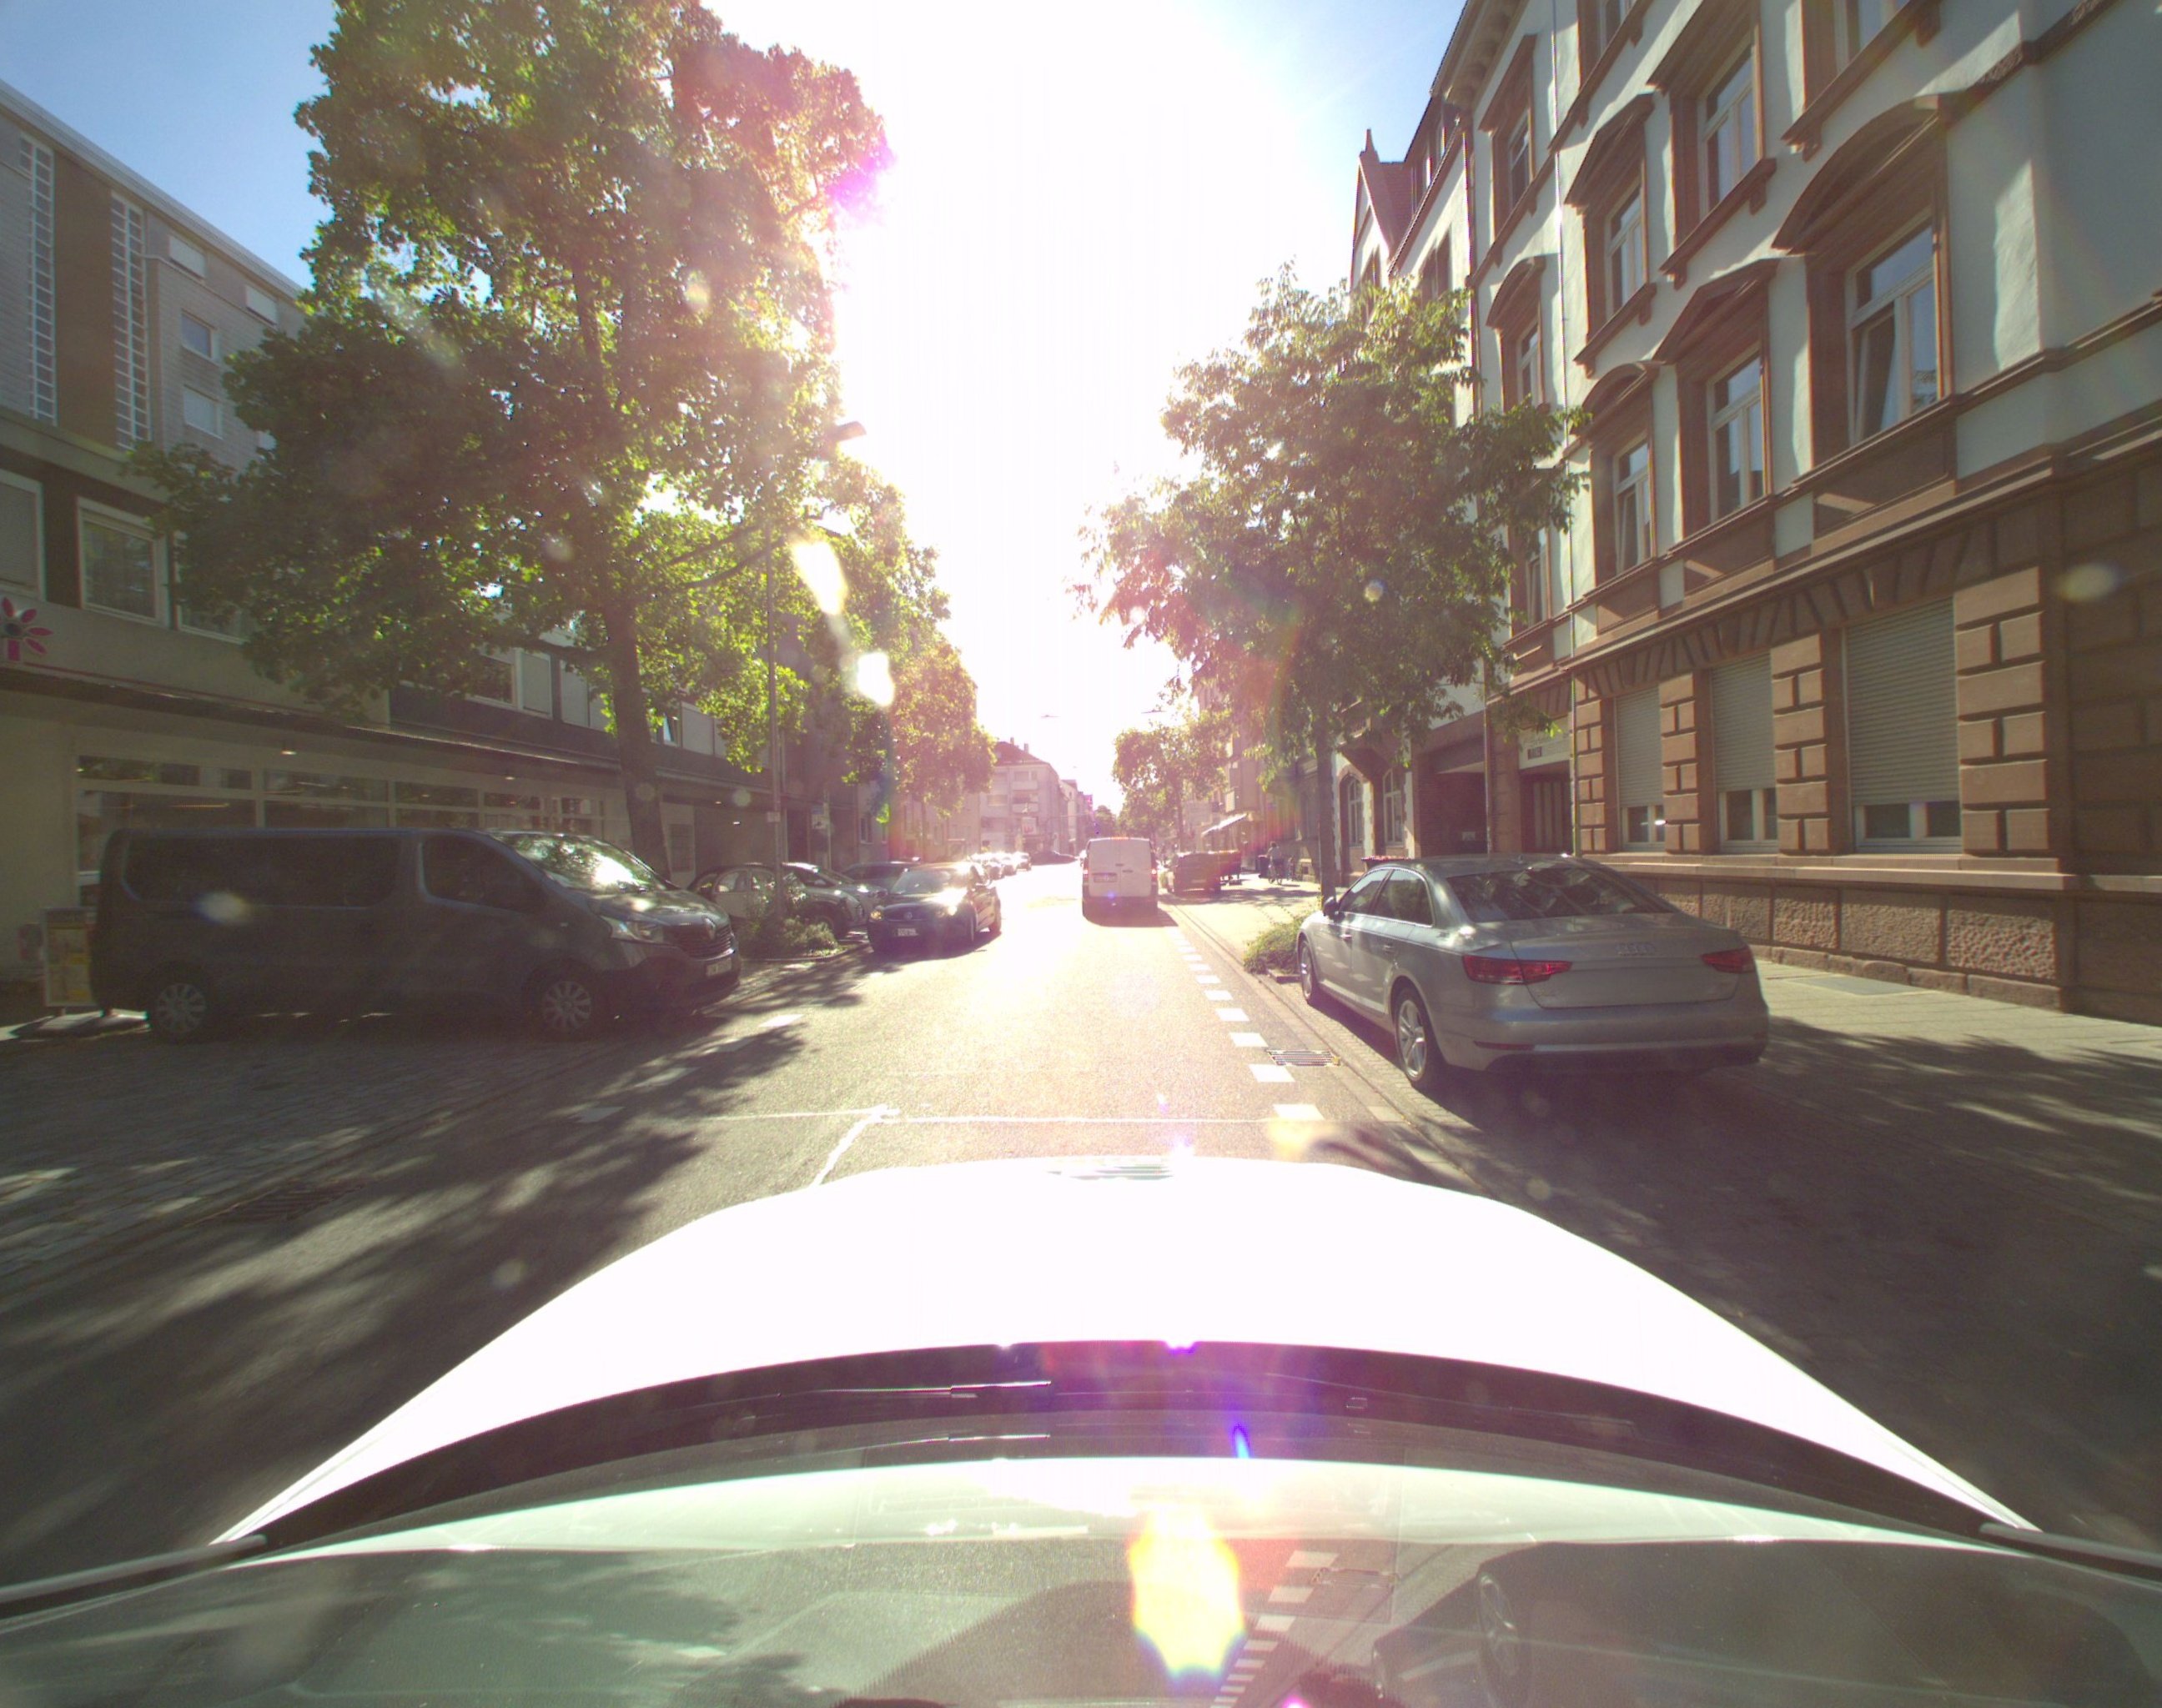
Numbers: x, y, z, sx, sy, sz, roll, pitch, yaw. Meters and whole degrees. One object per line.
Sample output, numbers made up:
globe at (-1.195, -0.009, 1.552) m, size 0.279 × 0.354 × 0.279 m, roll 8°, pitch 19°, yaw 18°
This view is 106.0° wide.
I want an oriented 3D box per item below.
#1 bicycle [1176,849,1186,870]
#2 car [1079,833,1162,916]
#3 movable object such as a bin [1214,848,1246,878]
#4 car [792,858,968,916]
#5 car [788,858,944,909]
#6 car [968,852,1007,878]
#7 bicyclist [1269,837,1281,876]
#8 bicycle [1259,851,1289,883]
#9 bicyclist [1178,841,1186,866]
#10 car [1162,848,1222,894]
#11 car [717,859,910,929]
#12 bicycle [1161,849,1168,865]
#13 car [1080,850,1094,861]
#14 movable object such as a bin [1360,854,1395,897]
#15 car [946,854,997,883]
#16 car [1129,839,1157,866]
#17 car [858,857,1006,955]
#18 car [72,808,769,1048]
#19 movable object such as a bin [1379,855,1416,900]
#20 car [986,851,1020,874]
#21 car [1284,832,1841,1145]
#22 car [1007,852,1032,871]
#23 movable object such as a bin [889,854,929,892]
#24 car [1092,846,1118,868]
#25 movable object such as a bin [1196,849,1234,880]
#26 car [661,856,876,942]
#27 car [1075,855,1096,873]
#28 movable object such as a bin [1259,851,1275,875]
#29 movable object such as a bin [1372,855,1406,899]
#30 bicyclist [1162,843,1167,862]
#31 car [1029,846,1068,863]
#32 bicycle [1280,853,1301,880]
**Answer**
bicycle at (6.222, 0.353, 50.592) m, size 0.473 × 1.274 × 1.218 m, roll -1°, pitch 0°, yaw 2°
car at (0.921, 0.458, 21.592) m, size 1.915 × 1.914 × 4.887 m, roll -1°, pitch 1°, yaw 0°
movable object such as a bin at (6.945, 0.431, 37.973) m, size 1.028 × 1.347 × 1.116 m, roll -2°, pitch 1°, yaw 41°
car at (-5.401, 0.869, 22.198) m, size 4.285 × 1.460 × 1.764 m, roll -1°, pitch 0°, yaw 4°
car at (-6.550, 0.888, 25.034) m, size 4.288 × 1.433 × 1.645 m, roll -1°, pitch 0°, yaw 2°
car at (-5.785, 0.678, 51.075) m, size 1.714 × 1.497 × 4.629 m, roll 1°, pitch 1°, yaw 2°
bicyclist at (7.345, 0.084, 30.826) m, size 0.359 × 1.477 × 0.531 m, roll -1°, pitch 0°, yaw 4°
bicycle at (7.354, 0.496, 31.063) m, size 0.535 × 1.148 × 2.123 m, roll -4°, pitch 0°, yaw -1°
bicyclist at (6.276, -0.012, 50.553) m, size 0.437 × 1.508 × 0.497 m, roll 2°, pitch 0°, yaw 2°
car at (3.937, 0.570, 29.316) m, size 1.630 × 1.475 × 3.580 m, roll -3°, pitch 0°, yaw 1°
car at (-6.289, 0.911, 19.468) m, size 3.975 × 1.463 × 1.812 m, roll -1°, pitch 0°, yaw -1°
bicycle at (7.114, 0.251, 69.360) m, size 0.414 × 1.310 × 1.335 m, roll -1°, pitch 0°, yaw 0°
car at (0.739, 0.179, 101.299) m, size 1.612 × 1.398 × 3.733 m, roll -1°, pitch 0°, yaw 2°
movable object such as a bin at (7.662, 0.560, 21.069) m, size 0.635 × 1.069 × 0.632 m, roll -2°, pitch 0°, yaw 2°
car at (-6.138, 0.756, 45.997) m, size 1.985 × 1.497 × 4.233 m, roll 1°, pitch 1°, yaw 4°
car at (4.790, -0.126, 63.175) m, size 1.809 × 1.921 × 4.645 m, roll -2°, pitch 0°, yaw 1°
car at (-2.570, 0.838, 14.982) m, size 1.756 × 1.438 × 3.963 m, roll -3°, pitch 0°, yaw 2°
car at (-6.161, 0.644, 8.093) m, size 5.272 × 1.974 × 2.016 m, roll -1°, pitch 0°, yaw 2°
movable object such as a bin at (7.724, 0.562, 19.911) m, size 0.635 × 1.069 × 0.639 m, roll -2°, pitch 0°, yaw 2°
car at (-5.446, 0.565, 57.408) m, size 1.770 × 1.469 × 4.761 m, roll 0°, pitch 0°, yaw 2°
car at (2.926, 0.653, 6.201) m, size 1.732 × 1.451 × 4.309 m, roll -4°, pitch 0°, yaw 2°
car at (-5.064, 0.588, 67.600) m, size 1.647 × 1.479 × 4.001 m, roll 0°, pitch 0°, yaw 1°
movable object such as a bin at (-6.963, 0.773, 33.078) m, size 1.223 × 1.450 × 1.079 m, roll -2°, pitch 0°, yaw 10°
car at (1.783, 0.211, 61.242) m, size 1.838 × 1.507 × 4.001 m, roll -2°, pitch 0°, yaw 1°
movable object such as a bin at (6.078, 0.470, 36.889) m, size 1.278 × 1.347 × 1.096 m, roll -3°, pitch 0°, yaw -40°
car at (-6.152, 0.860, 16.303) m, size 3.583 × 1.552 × 1.685 m, roll -1°, pitch 0°, yaw 2°
car at (0.453, 0.953, 78.224) m, size 1.860 × 1.614 × 4.429 m, roll -3°, pitch 0°, yaw 2°
movable object such as a bin at (8.403, 0.412, 36.806) m, size 0.596 × 1.042 × 0.546 m, roll -2°, pitch 0°, yaw 1°
movable object such as a bin at (7.737, 0.561, 20.474) m, size 0.635 × 1.069 × 0.522 m, roll -2°, pitch 0°, yaw 2°
bicyclist at (7.096, -0.152, 69.409) m, size 0.354 × 1.575 × 0.481 m, roll -1°, pitch 0°, yaw -1°
car at (-3.361, 0.093, 85.491) m, size 3.976 × 1.640 × 1.999 m, roll -2°, pitch 0°, yaw -2°
bicycle at (8.510, 0.480, 33.127) m, size 0.431 × 1.030 × 1.428 m, roll -5°, pitch 0°, yaw 2°
